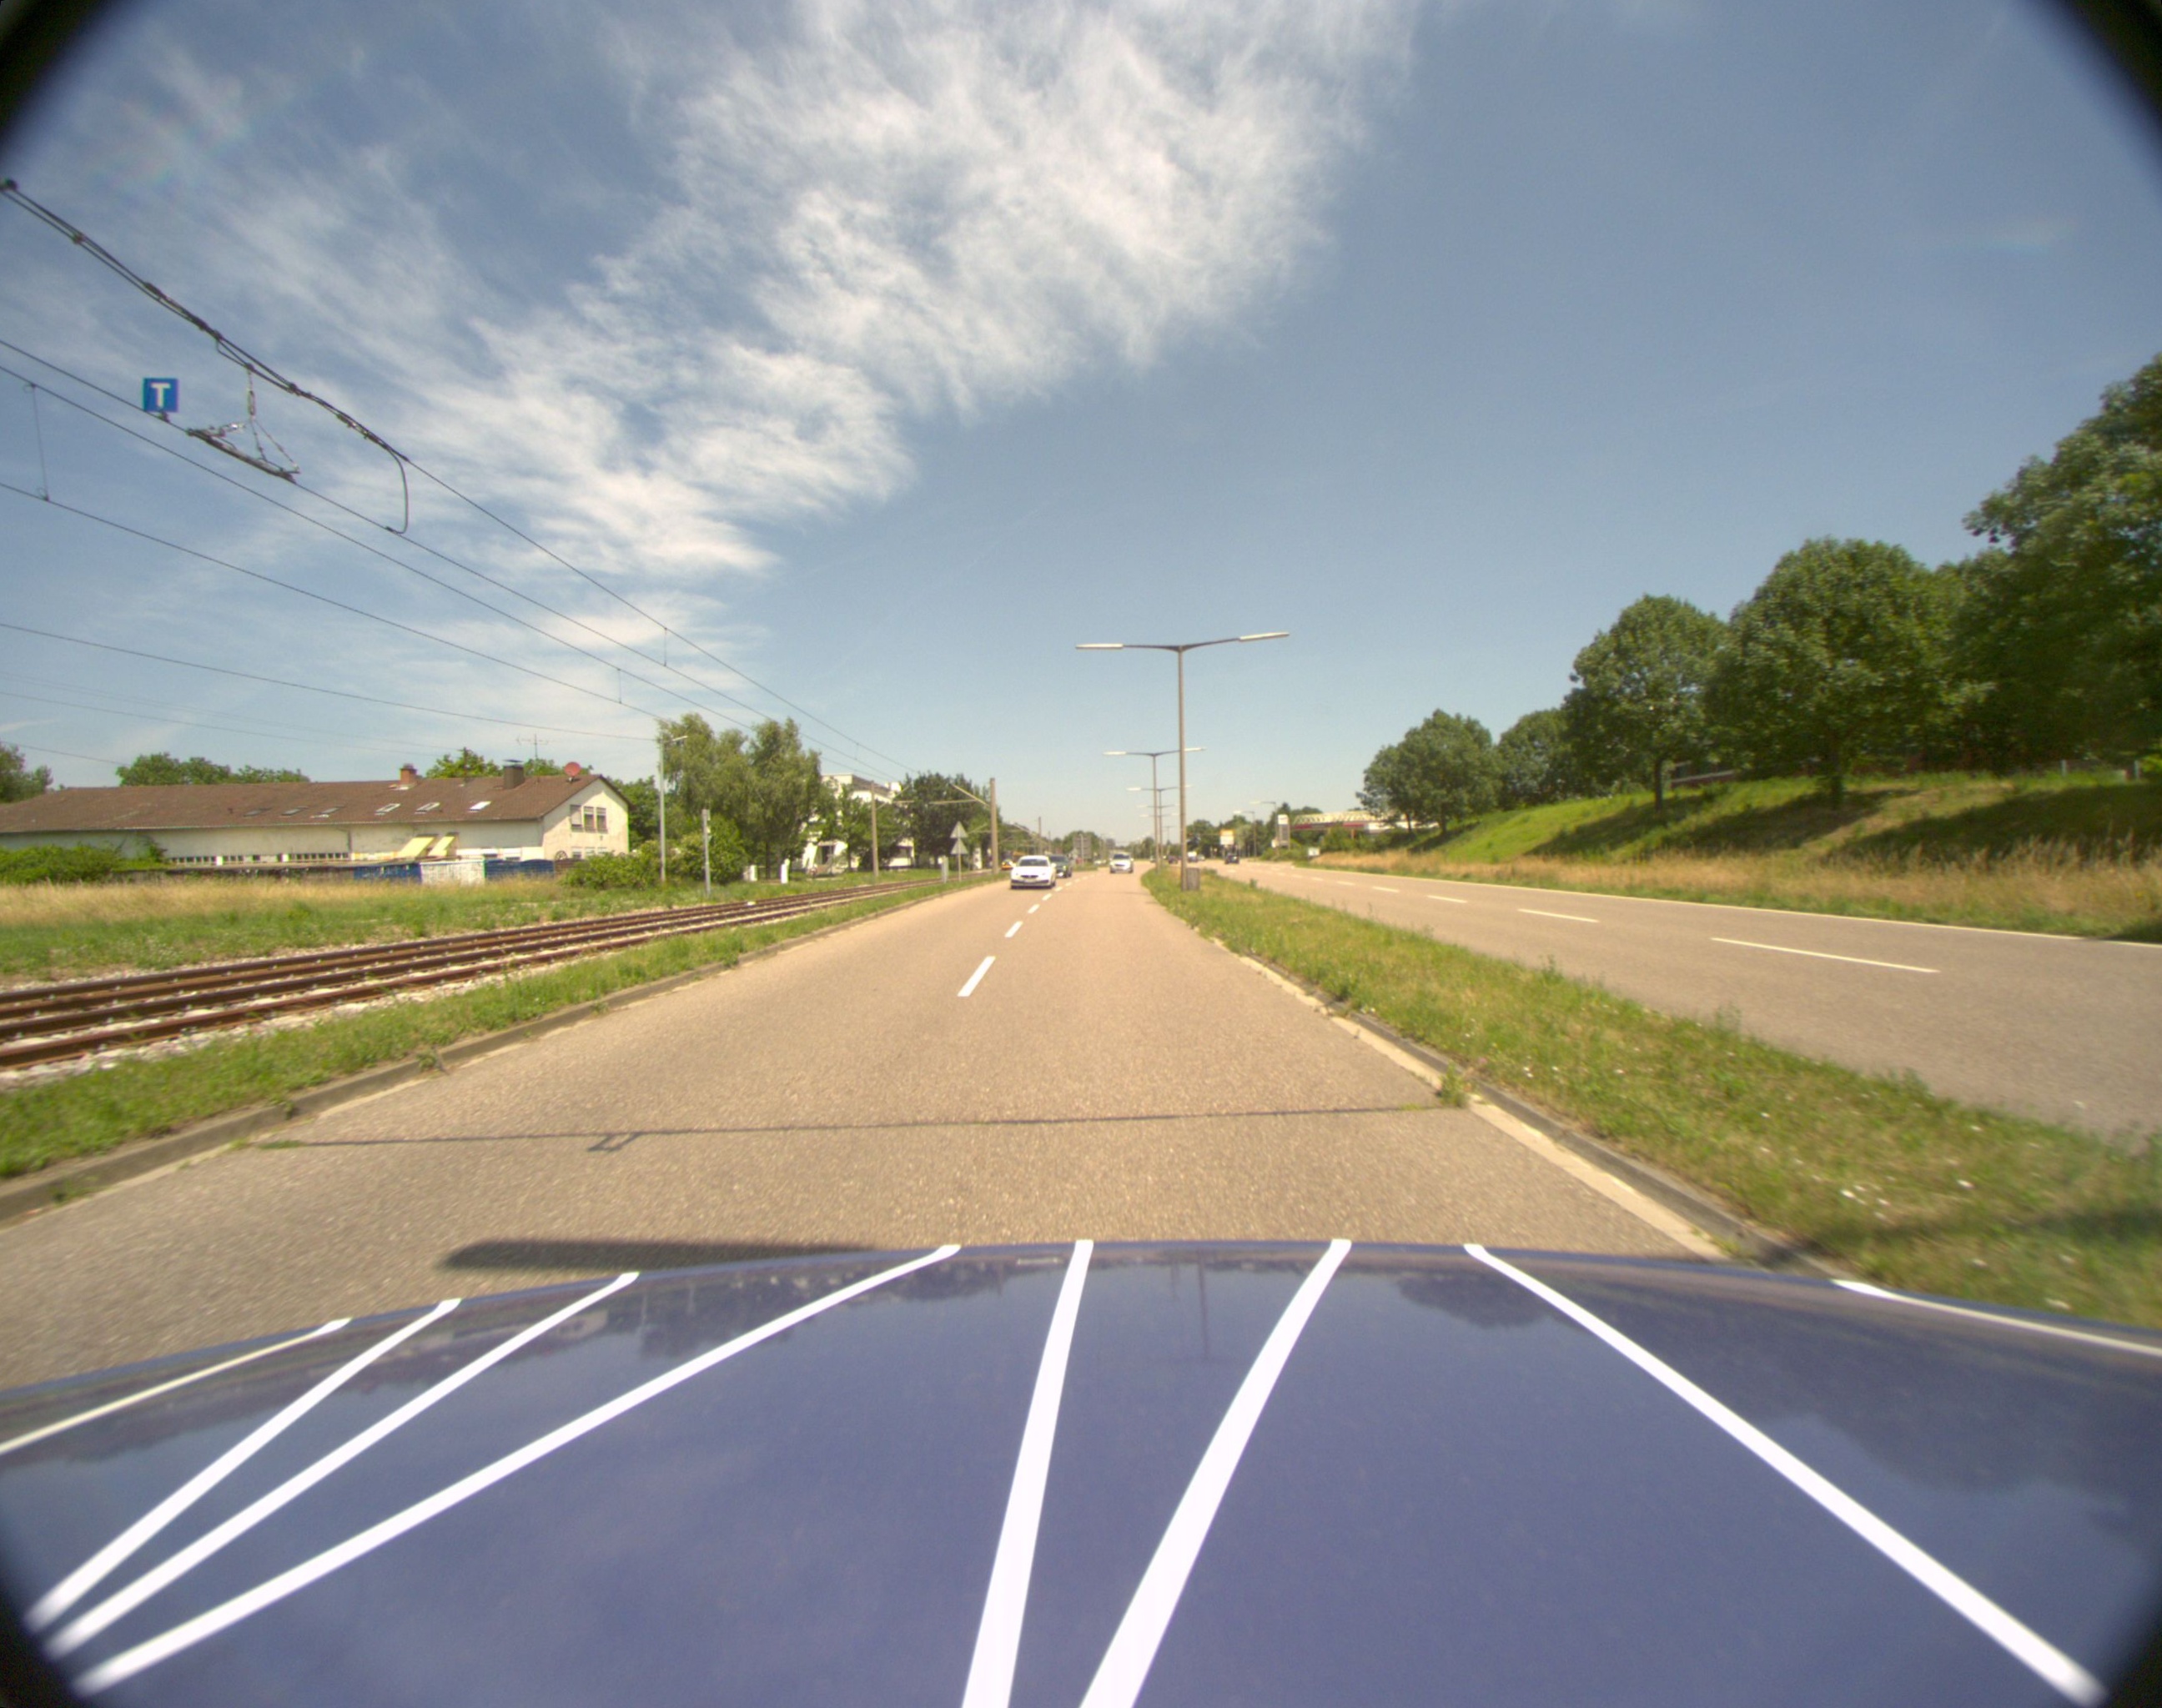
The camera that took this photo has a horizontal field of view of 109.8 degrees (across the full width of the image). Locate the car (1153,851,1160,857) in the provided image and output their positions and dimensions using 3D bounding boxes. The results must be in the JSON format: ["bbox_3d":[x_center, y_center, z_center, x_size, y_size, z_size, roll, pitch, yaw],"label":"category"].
[{"bbox_3d":[19.935,0.050,201.036,1.621,1.346,3.516,-2,1,6],"label":"car"}]

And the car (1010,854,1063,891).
[{"bbox_3d":[-1.935,0.778,34.249,1.771,1.434,4.130,-2,1,5],"label":"car"}]

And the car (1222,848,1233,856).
[{"bbox_3d":[30.178,-0.417,156.285,1.652,1.577,3.820,-2,1,3],"label":"car"}]

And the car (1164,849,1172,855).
[{"bbox_3d":[21.889,-0.562,191.292,1.618,1.386,3.600,-2,1,1],"label":"car"}]

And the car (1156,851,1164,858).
[{"bbox_3d":[17.754,0.071,171.069,1.618,1.386,3.600,-2,1,1],"label":"car"}]

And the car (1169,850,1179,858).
[{"bbox_3d":[17.874,-0.075,146.384,1.618,1.386,3.600,-2,1,1],"label":"car"}]

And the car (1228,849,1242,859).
[{"bbox_3d":[21.840,0.015,107.826,1.620,1.346,3.516,-2,1,7],"label":"car"}]

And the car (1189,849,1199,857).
[{"bbox_3d":[22.519,-0.200,151.411,1.618,1.386,3.600,-2,1,1],"label":"car"}]

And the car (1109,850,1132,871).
[{"bbox_3d":[3.536,0.554,68.427,1.883,1.687,3.788,-2,1,2],"label":"car"}]

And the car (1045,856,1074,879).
[{"bbox_3d":[-1.392,0.889,50.609,1.646,1.303,3.786,-2,1,1],"label":"car"}]
